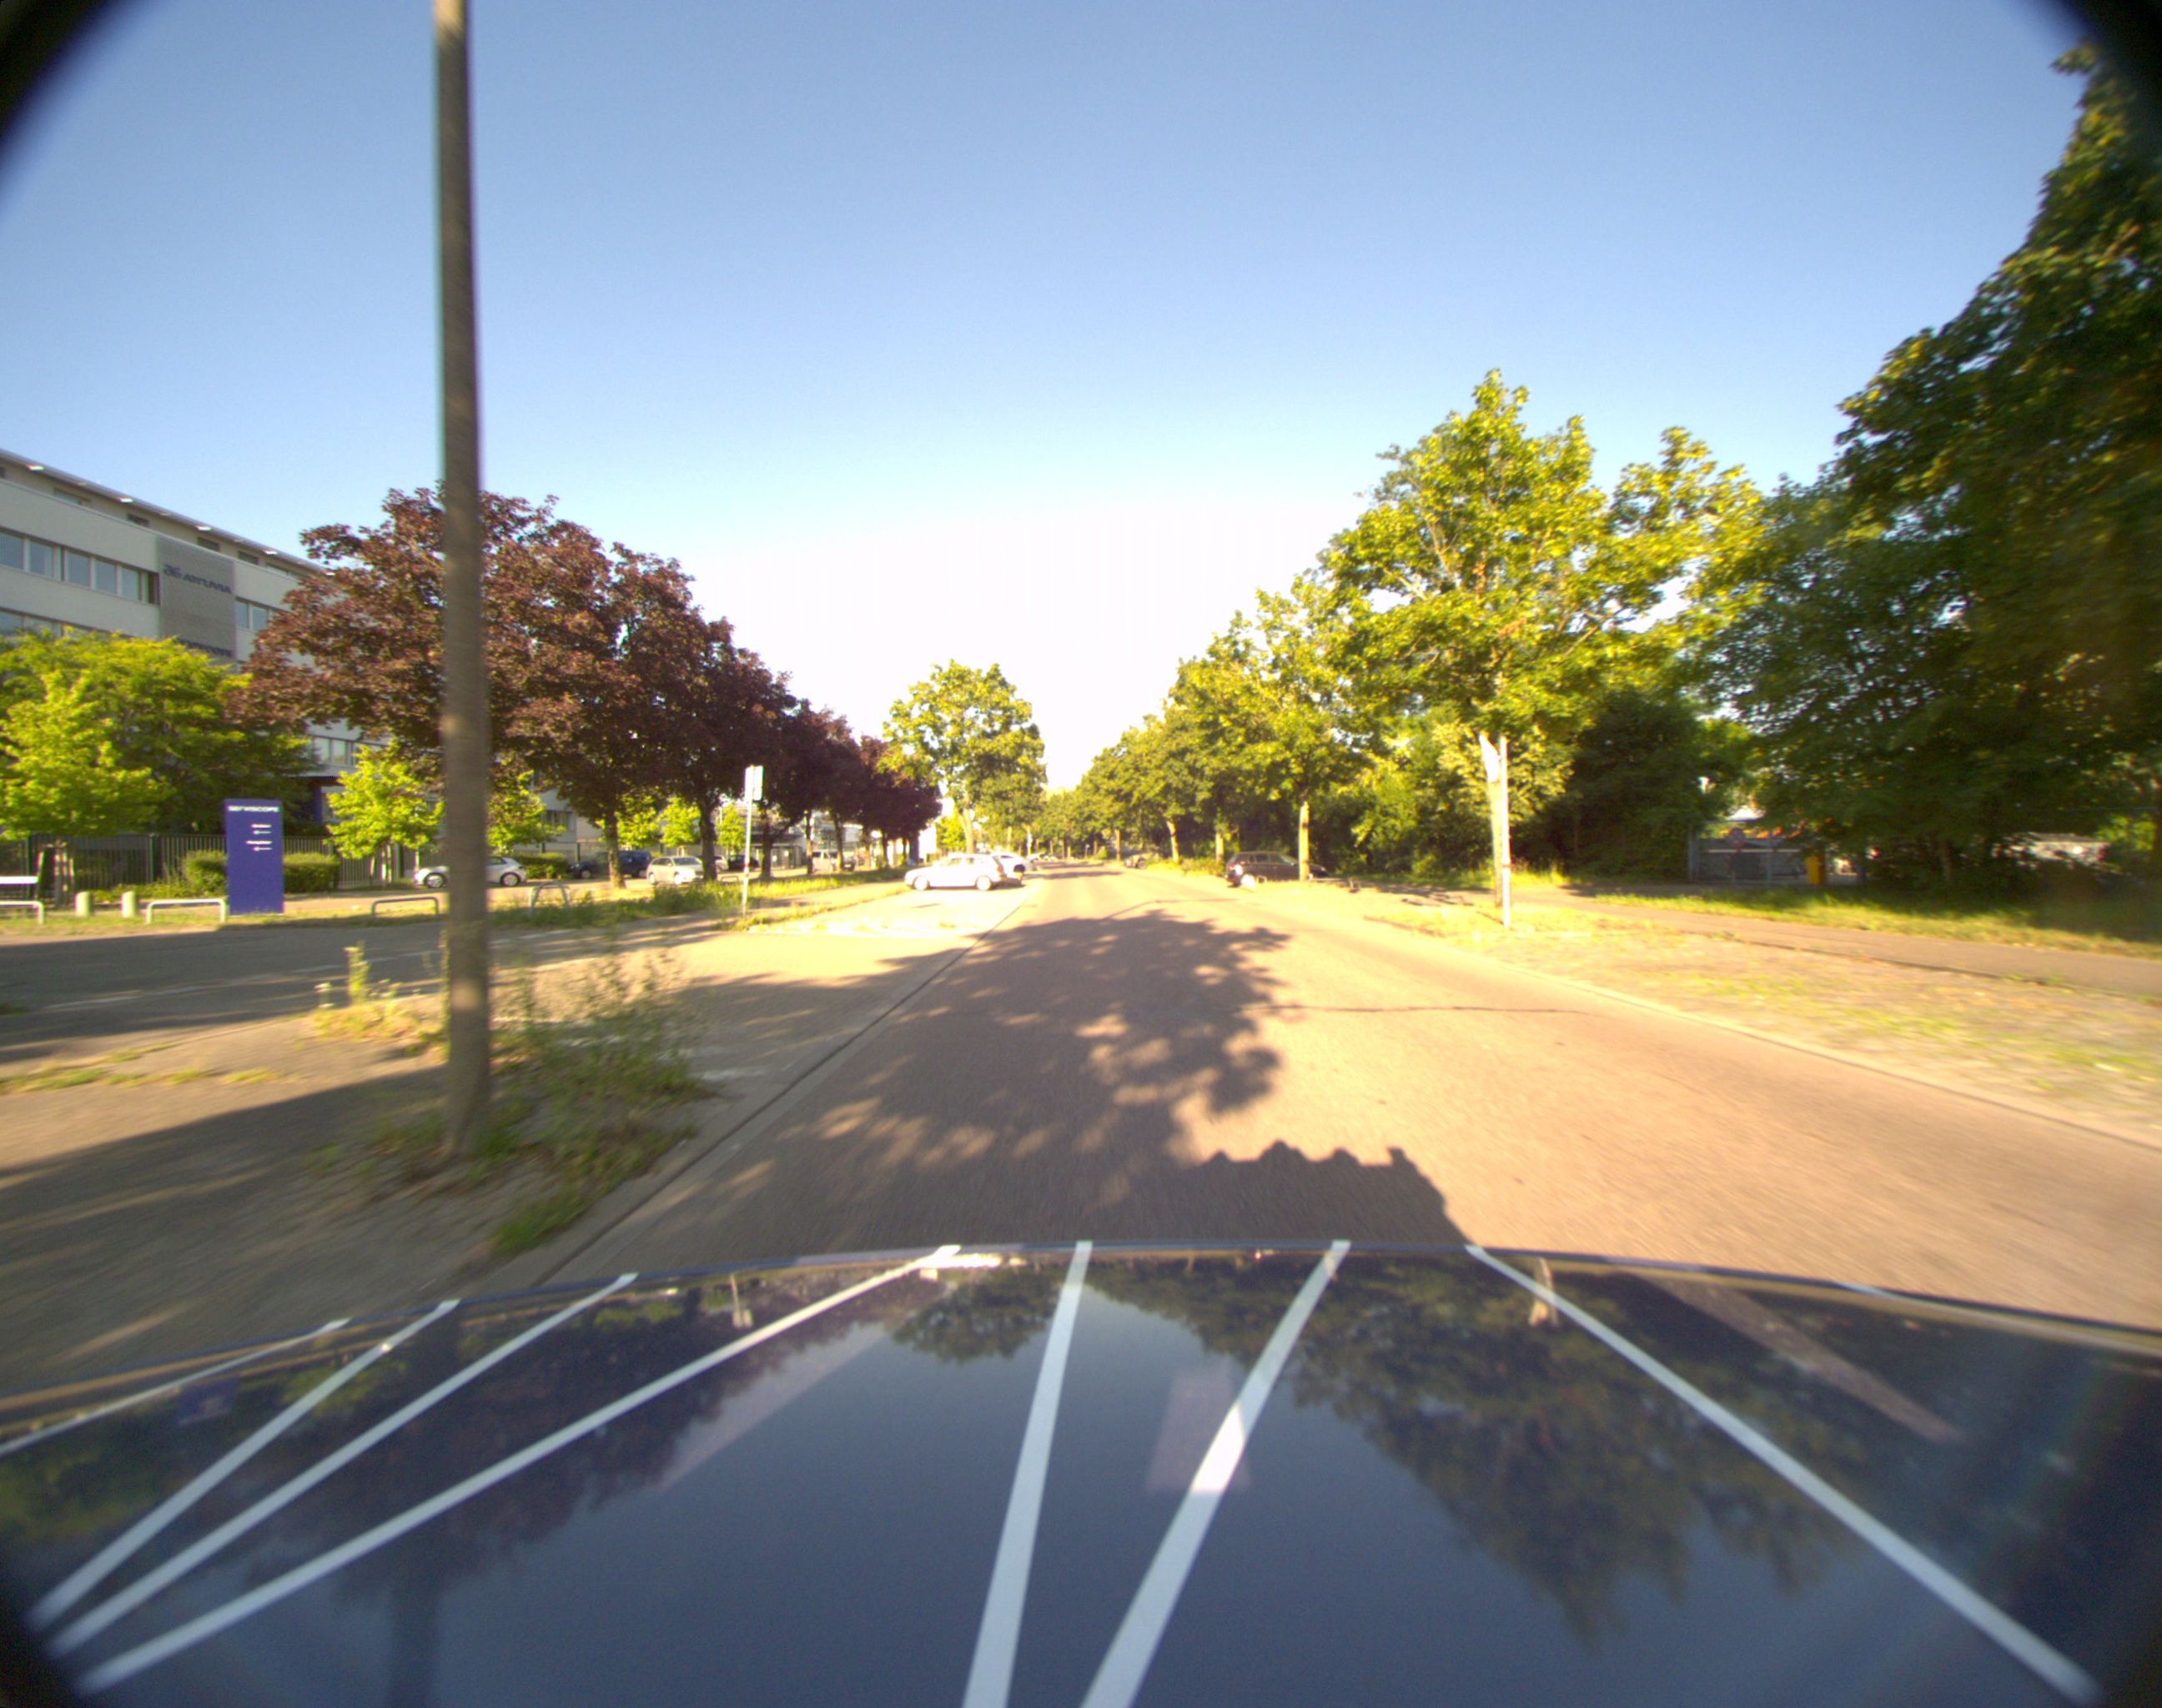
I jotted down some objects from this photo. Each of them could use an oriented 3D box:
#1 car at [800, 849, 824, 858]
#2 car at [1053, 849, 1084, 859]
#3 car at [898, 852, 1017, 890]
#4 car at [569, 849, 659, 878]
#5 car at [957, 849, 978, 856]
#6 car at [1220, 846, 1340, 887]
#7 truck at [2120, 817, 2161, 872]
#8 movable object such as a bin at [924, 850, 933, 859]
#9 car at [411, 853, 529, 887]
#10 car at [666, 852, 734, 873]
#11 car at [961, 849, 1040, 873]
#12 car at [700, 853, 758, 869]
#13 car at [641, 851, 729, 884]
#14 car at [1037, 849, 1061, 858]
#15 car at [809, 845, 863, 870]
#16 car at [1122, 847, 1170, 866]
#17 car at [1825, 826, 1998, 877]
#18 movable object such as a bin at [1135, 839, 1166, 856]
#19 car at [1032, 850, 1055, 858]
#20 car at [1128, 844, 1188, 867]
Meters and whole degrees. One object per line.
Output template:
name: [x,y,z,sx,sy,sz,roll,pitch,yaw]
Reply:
car: [-42.196,-0.071,119.382,2.036,1.423,4.561,0,0,3]
car: [-2.240,-0.009,132.990,5.053,1.454,1.997,-2,1,-13]
car: [-4.980,0.673,31.056,4.366,1.470,2.001,0,1,8]
car: [-29.094,0.565,47.446,4.505,1.739,1.762,0,0,-43]
car: [-26.410,-0.405,177.092,4.609,1.575,1.997,1,0,-16]
car: [8.174,0.504,31.478,4.370,1.470,1.999,-3,1,-2]
truck: [40.733,-0.355,26.892,2.058,2.045,4.318,0,0,0]
movable object such as a bin: [-23.053,0.091,114.738,0.846,1.408,1.039,-2,0,19]
car: [-29.159,0.743,36.348,4.313,1.518,1.762,0,0,-41]
car: [-28.961,0.593,57.765,4.321,1.520,1.802,-1,1,-39]
car: [-5.366,0.476,51.221,5.190,1.565,2.157,0,1,-5]
car: [-29.655,0.568,64.069,4.008,1.346,1.802,-1,1,-43]
car: [-19.822,0.628,37.938,4.939,1.565,2.004,0,1,38]
car: [-6.344,-0.160,149.825,4.496,1.522,1.997,-2,1,-13]
car: [-19.462,0.291,60.350,4.940,1.922,2.004,-1,0,45]
car: [6.146,0.197,72.111,4.224,1.521,1.704,-3,1,-6]
car: [30.388,-0.094,27.993,1.913,1.718,3.999,0,0,-3]
movable object such as a bin: [11.533,-1.084,126.118,4.790,2.649,2.169,0,1,41]
car: [-7.766,-0.028,157.342,4.302,1.522,1.998,-2,1,-12]
car: [6.888,0.117,67.984,5.020,2.008,2.173,0,1,-6]
